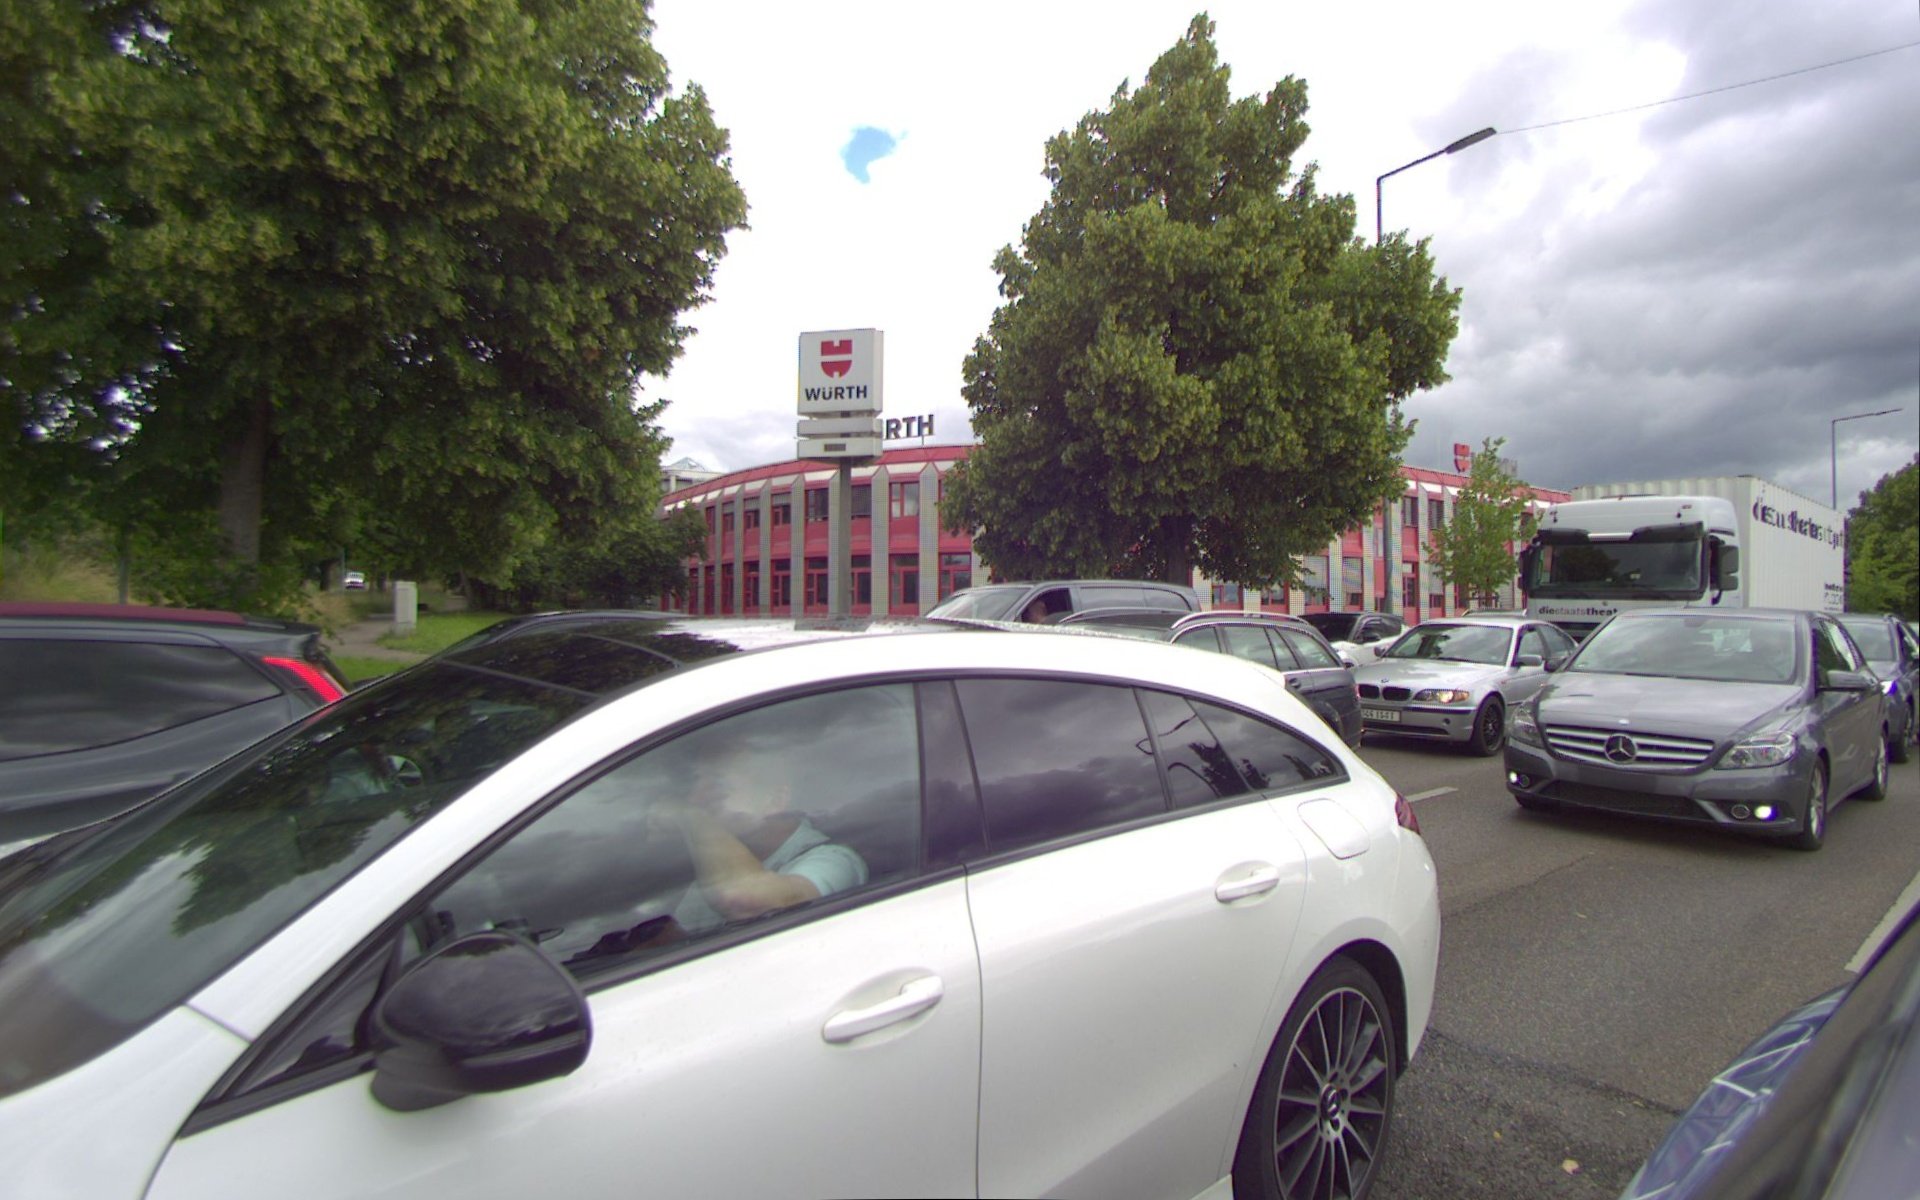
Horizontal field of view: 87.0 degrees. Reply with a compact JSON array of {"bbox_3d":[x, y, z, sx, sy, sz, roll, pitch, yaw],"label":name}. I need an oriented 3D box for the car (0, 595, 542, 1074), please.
[{"bbox_3d":[-3.667,0.699,3.362,3.930,1.421,1.548,0,0,-41],"label":"car"}]

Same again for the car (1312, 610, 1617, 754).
[{"bbox_3d":[5.961,0.824,11.756,4.046,1.371,1.814,1,-1,-42],"label":"car"}]

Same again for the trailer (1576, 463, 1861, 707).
[{"bbox_3d":[14.439,-0.155,18.989,7.624,3.753,2.571,2,-1,-40],"label":"trailer"}]

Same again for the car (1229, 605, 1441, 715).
[{"bbox_3d":[5.997,0.863,16.021,3.620,1.515,1.644,1,0,-42],"label":"car"}]

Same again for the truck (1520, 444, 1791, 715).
[{"bbox_3d":[11.256,-0.243,16.316,4.032,3.753,2.576,2,-1,-39],"label":"truck"}]

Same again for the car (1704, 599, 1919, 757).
[{"bbox_3d":[10.167,0.774,11.611,3.927,1.505,1.702,1,0,-39],"label":"car"}]

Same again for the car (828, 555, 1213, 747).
[{"bbox_3d":[0.837,0.498,11.760,4.425,1.826,1.829,1,0,-40],"label":"car"}]

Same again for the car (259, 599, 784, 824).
[{"bbox_3d":[-3.377,0.773,8.137,3.568,1.456,1.519,1,-4,-30],"label":"car"}]

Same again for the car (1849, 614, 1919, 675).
[{"bbox_3d":[26.804,1.222,28.323,4.319,1.581,1.851,2,-1,-34],"label":"car"}]

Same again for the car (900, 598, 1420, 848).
[{"bbox_3d":[1.729,0.731,7.961,4.137,1.453,1.829,1,0,-40],"label":"car"}]

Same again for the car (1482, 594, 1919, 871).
[{"bbox_3d":[5.800,0.747,7.653,4.111,1.543,1.803,1,0,-39],"label":"car"}]

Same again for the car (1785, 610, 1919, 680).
[{"bbox_3d":[21.981,1.076,24.865,4.239,1.543,1.712,2,-1,-37],"label":"car"}]

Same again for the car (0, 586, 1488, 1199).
[{"bbox_3d":[-0.715,0.707,2.077,4.279,1.440,1.725,1,0,-40],"label":"car"}]
